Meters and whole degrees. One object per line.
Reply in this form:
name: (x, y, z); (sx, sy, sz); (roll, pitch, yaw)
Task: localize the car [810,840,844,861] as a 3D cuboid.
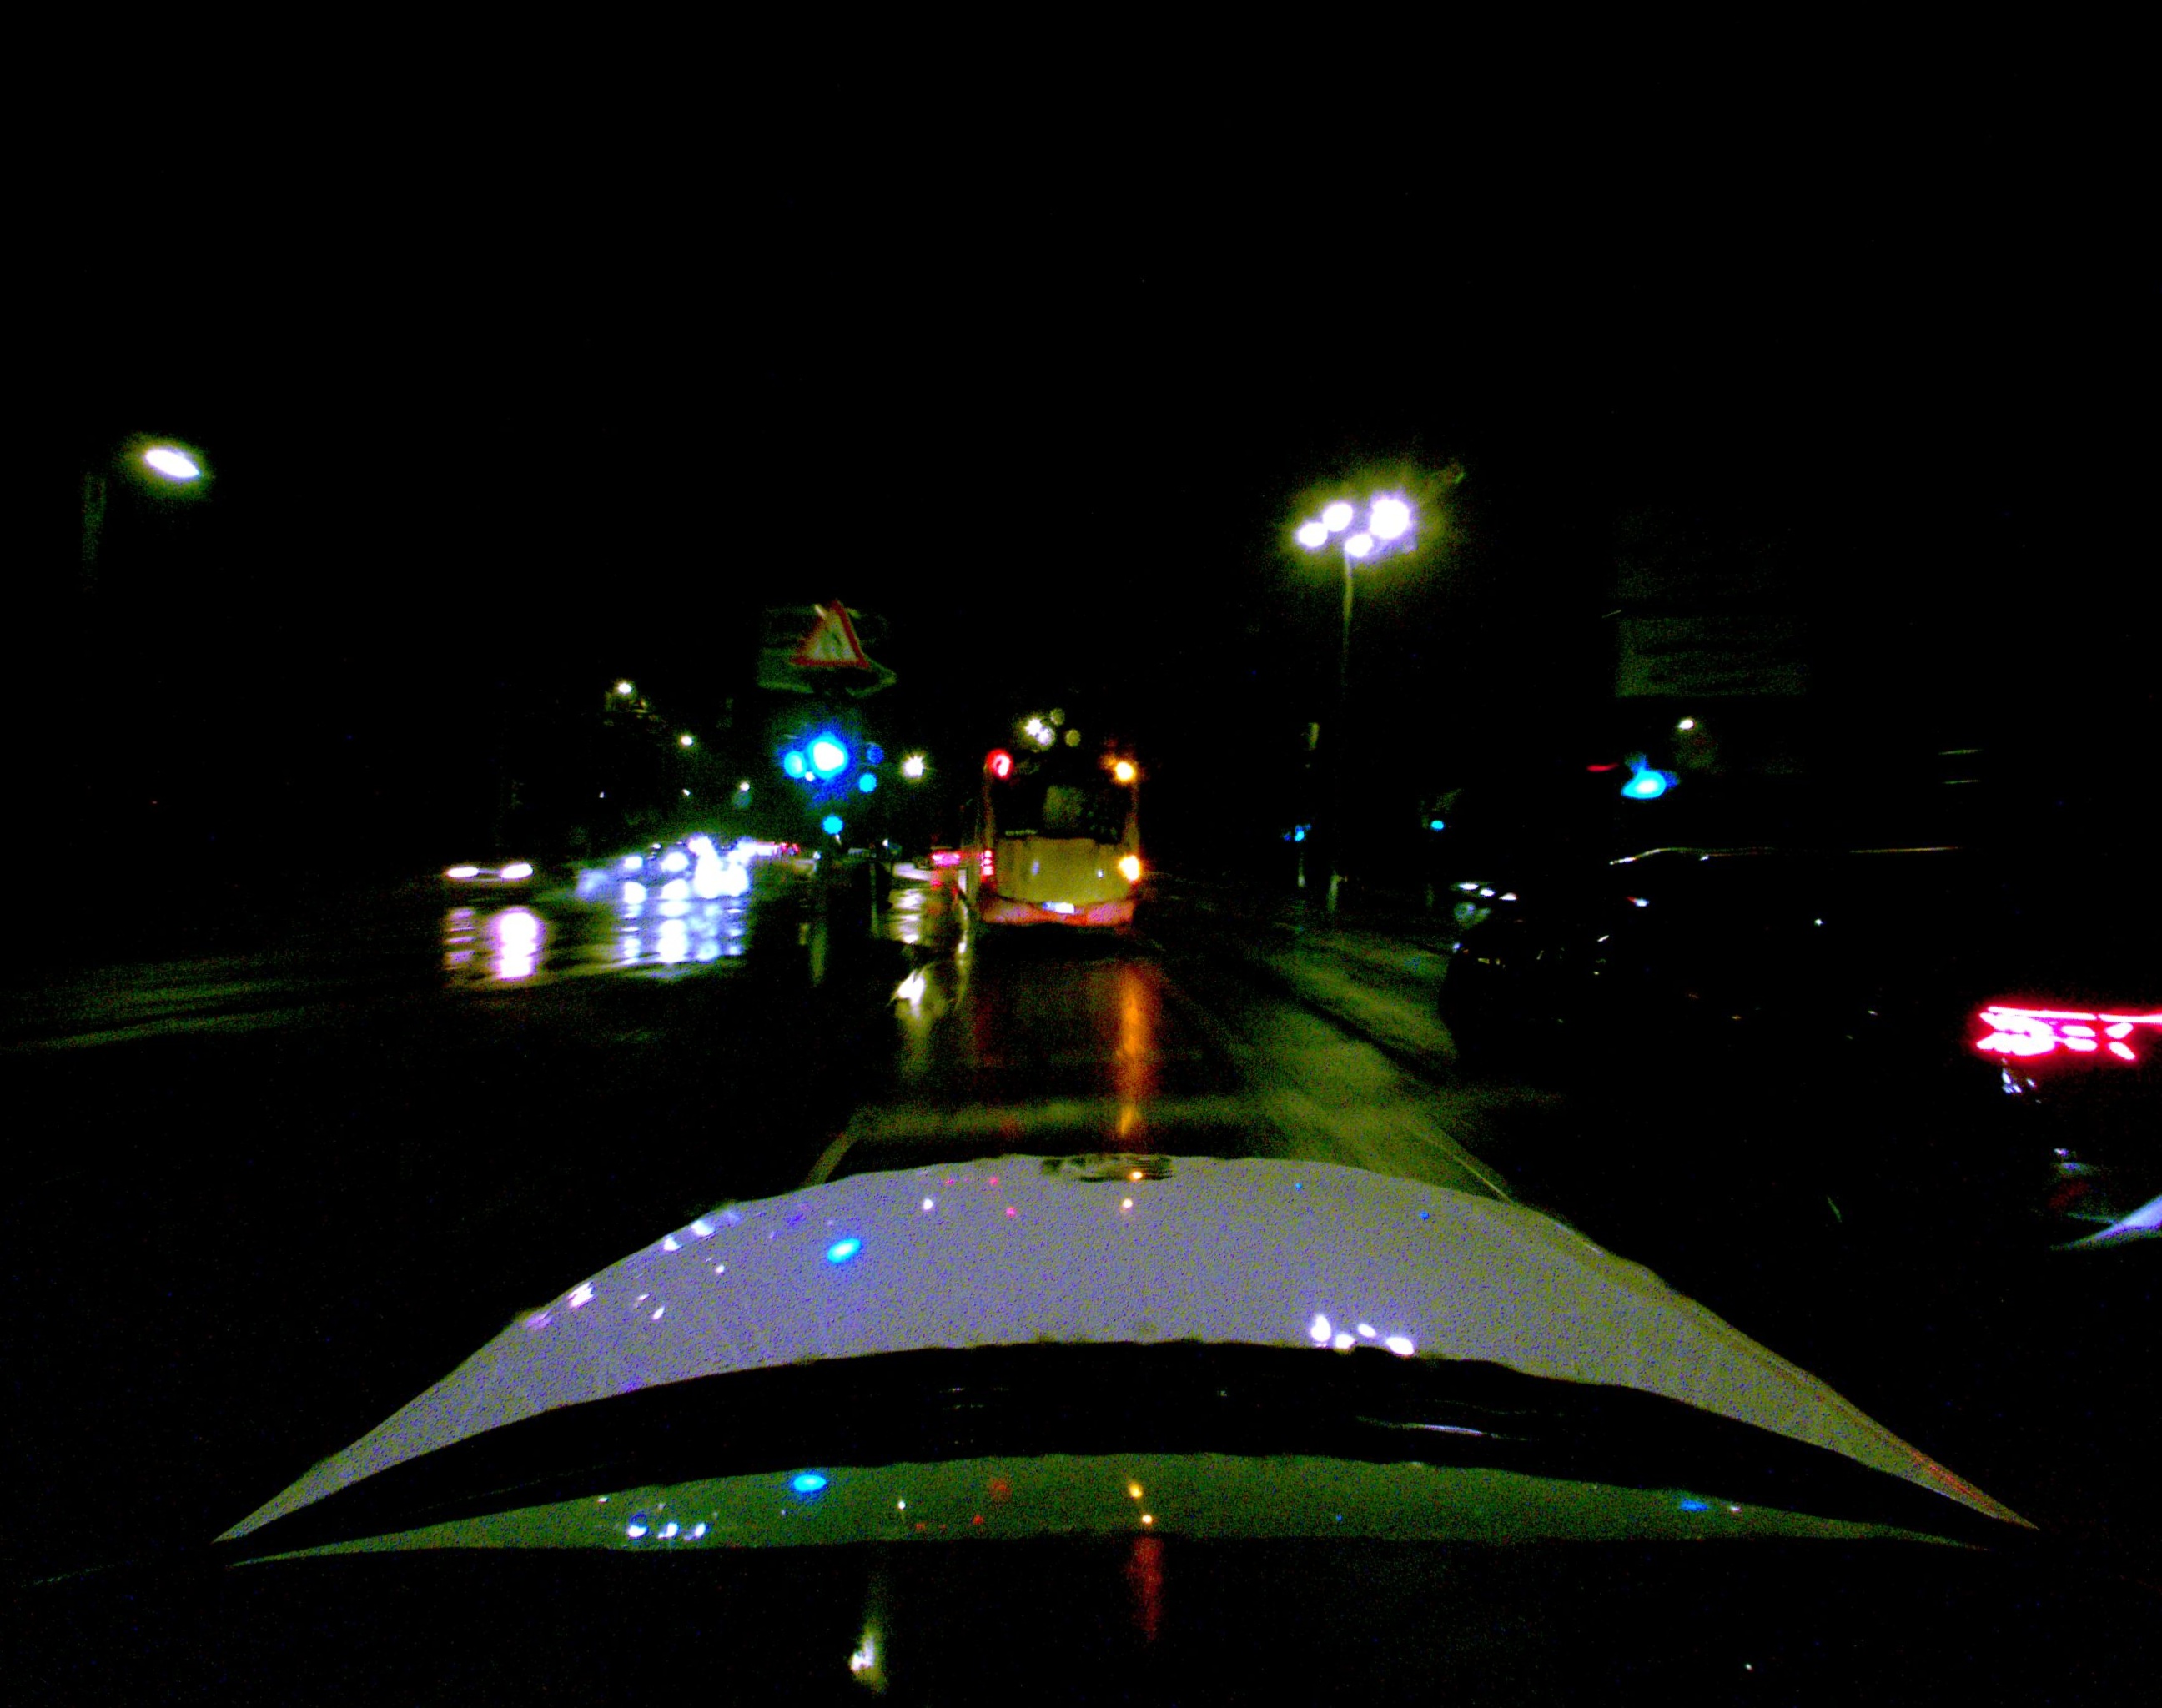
car: (-21.576, -0.304, 69.070); (1.827, 1.618, 3.961); (3, -1, -30)

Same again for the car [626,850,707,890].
car: (-16.694, 0.595, 33.018); (1.781, 1.460, 4.459); (2, 0, -12)

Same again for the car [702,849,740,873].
car: (-21.560, 0.394, 48.913); (1.813, 1.353, 4.115); (2, 0, -20)

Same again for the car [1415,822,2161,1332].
car: (3.588, 0.728, 4.479); (1.673, 1.521, 3.955); (2, -1, -3)

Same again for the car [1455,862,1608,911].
car: (16.240, 1.151, 29.508); (4.468, 1.519, 1.857); (2, 1, 0)

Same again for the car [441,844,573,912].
car: (-14.655, 0.564, 21.020); (1.567, 1.432, 3.479); (3, 2, -14)

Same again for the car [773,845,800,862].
car: (-29.956, -0.068, 82.789); (1.828, 1.618, 3.960); (3, -1, -31)

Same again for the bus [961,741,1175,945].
bus: (-0.794, -0.168, 17.141); (3.283, 3.050, 9.518); (0, 0, -8)

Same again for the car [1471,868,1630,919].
car: (14.782, 1.233, 25.796); (4.029, 1.345, 1.747); (2, 1, 0)

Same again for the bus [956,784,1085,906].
bus: (-2.250, -0.302, 26.186); (3.247, 3.120, 8.617); (3, 1, -10)

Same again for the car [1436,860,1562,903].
car: (16.927, 1.086, 33.087); (4.150, 1.519, 1.857); (2, 1, 0)

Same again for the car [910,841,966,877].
car: (-8.571, 0.287, 48.496); (2.005, 2.014, 4.309); (3, -1, -28)

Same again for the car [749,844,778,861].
car: (-35.627, -0.155, 91.308); (2.104, 1.644, 3.691); (6, -2, -34)
